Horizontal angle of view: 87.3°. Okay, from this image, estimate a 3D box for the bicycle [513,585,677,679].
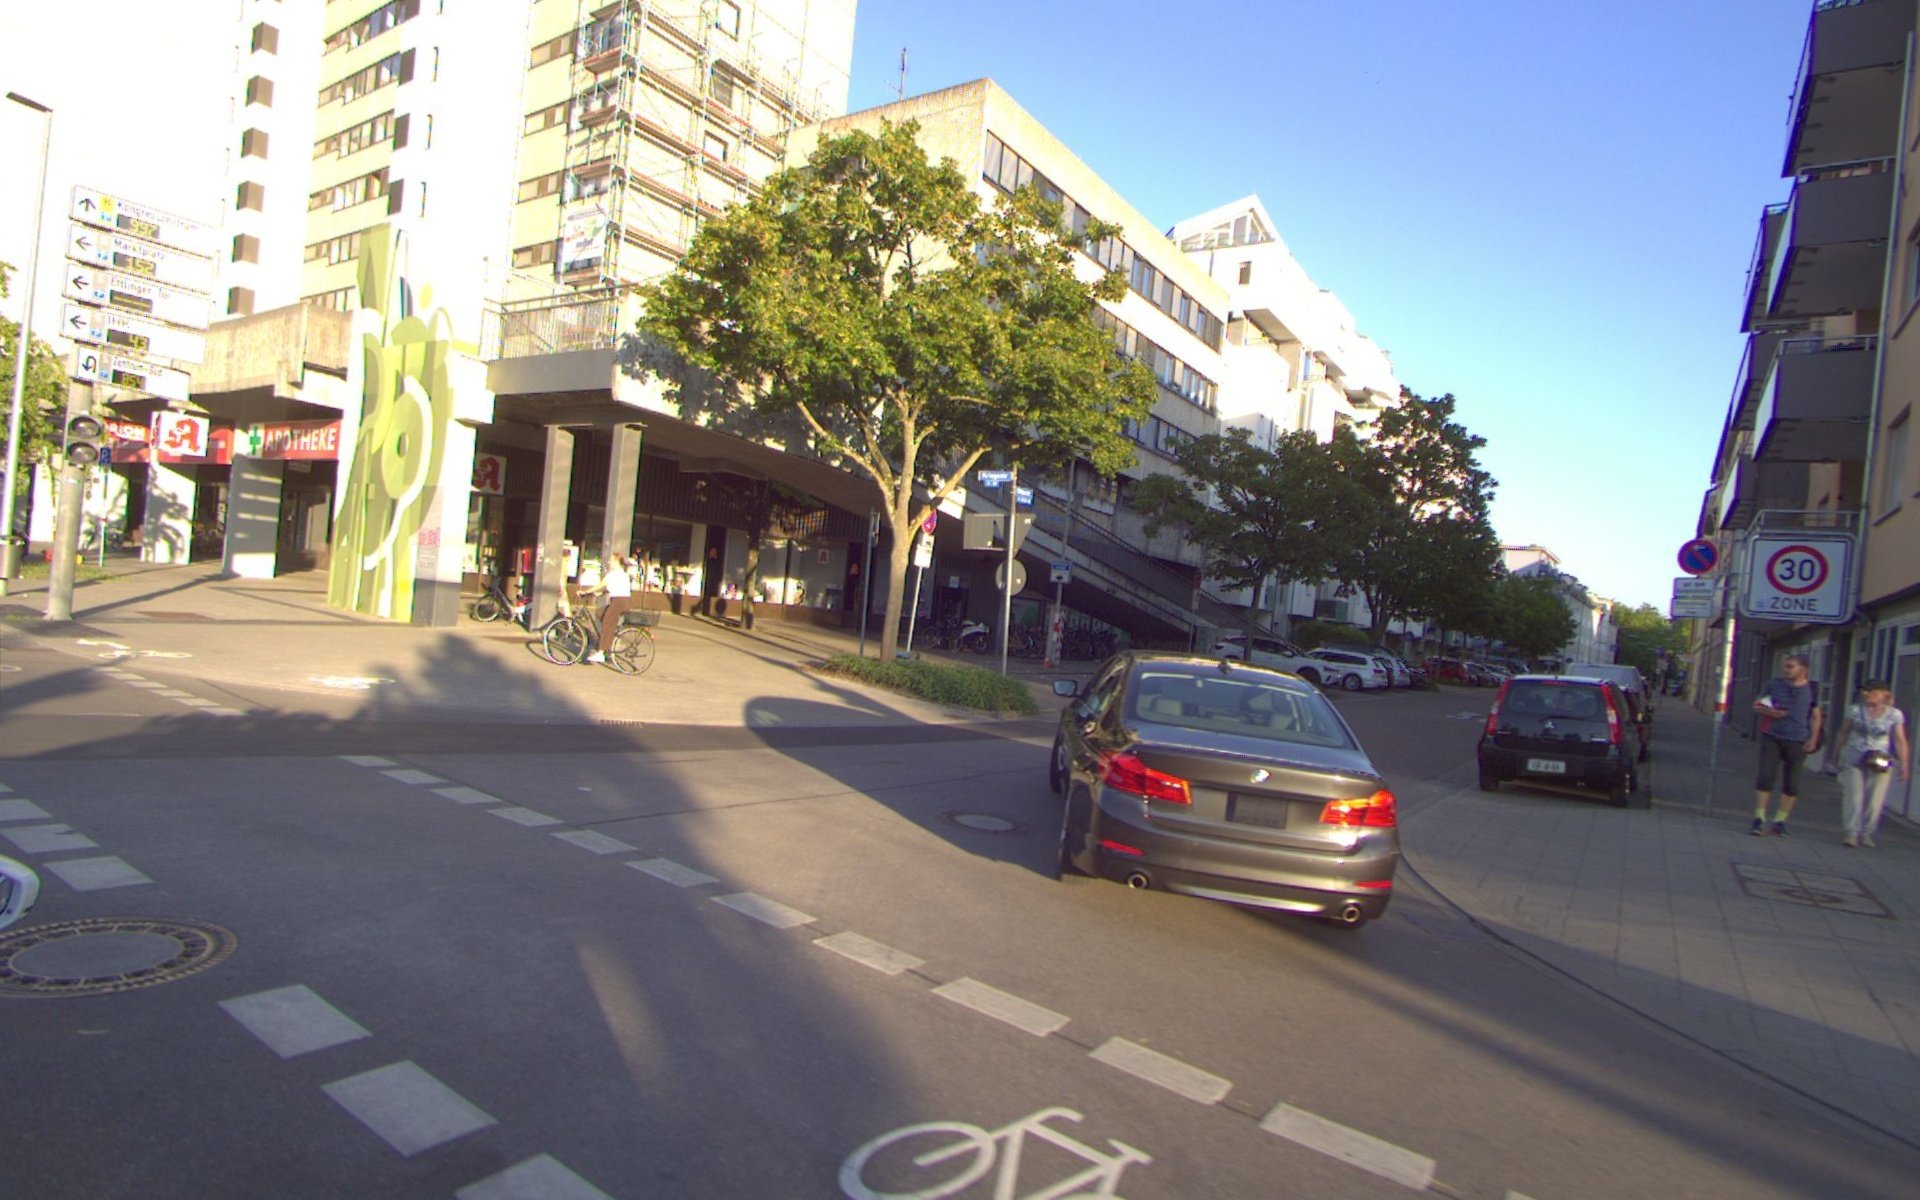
[{"bbox_3d":[-5.507,0.473,15.243,2.107,1.188,0.820,5,1,7],"label":"bicycle"}]

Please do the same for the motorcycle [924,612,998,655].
[{"bbox_3d":[0.018,1.042,31.074,2.117,1.071,0.785,7,2,31],"label":"motorcycle"}]

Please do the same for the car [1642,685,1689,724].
[{"bbox_3d":[40.518,6.003,57.801,2.002,1.849,4.771,6,-3,35],"label":"car"}]

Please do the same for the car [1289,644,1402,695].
[{"bbox_3d":[16.014,2.863,41.847,4.014,1.553,1.639,6,-2,32],"label":"car"}]

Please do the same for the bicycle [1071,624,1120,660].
[{"bbox_3d":[4.987,1.535,37.024,1.539,1.143,0.649,7,2,23],"label":"bicycle"}]

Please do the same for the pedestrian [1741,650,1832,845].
[{"bbox_3d":[8.542,1.494,10.421,0.536,1.882,0.838,5,0,35],"label":"pedestrian"}]

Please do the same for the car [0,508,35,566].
[{"bbox_3d":[-25.477,-1.675,24.562,1.781,1.472,4.600,5,1,-5],"label":"car"}]

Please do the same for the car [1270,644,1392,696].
[{"bbox_3d":[14.594,2.757,39.612,4.111,1.477,1.752,6,-2,32],"label":"car"}]

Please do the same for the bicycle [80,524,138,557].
[{"bbox_3d":[-31.657,-2.206,37.453,0.426,1.062,1.571,6,2,34],"label":"bicycle"}]

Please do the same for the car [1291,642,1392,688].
[{"bbox_3d":[17.569,2.978,46.420,3.967,1.553,1.638,6,-2,35],"label":"car"}]

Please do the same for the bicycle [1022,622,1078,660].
[{"bbox_3d":[3.066,1.396,34.409,1.800,1.051,0.484,7,2,32],"label":"bicycle"}]

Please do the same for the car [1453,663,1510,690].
[{"bbox_3d":[38.675,5.669,74.613,3.451,1.471,1.441,6,-2,35],"label":"car"}]

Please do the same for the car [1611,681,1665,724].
[{"bbox_3d":[35.997,5.473,53.358,2.126,1.849,4.771,6,-3,35],"label":"car"}]

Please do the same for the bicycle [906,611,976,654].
[{"bbox_3d":[-0.575,0.977,30.405,1.891,1.071,0.781,7,2,31],"label":"bicycle"}]

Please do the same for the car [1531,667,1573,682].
[{"bbox_3d":[83.249,10.474,141.456,4.841,1.540,2.027,6,-2,39],"label":"car"}]

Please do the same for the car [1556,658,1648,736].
[{"bbox_3d":[17.863,2.647,27.960,1.969,1.886,4.527,1,-3,34],"label":"car"}]

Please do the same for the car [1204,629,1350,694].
[{"bbox_3d":[11.339,2.188,36.096,4.553,1.712,1.749,6,-2,36],"label":"car"}]

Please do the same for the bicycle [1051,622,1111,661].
[{"bbox_3d":[4.307,1.482,35.751,1.914,1.143,0.649,7,2,23],"label":"bicycle"}]

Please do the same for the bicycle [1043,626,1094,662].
[{"bbox_3d":[3.783,1.516,34.934,1.539,1.051,0.649,7,2,23],"label":"bicycle"}]

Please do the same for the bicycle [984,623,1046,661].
[{"bbox_3d":[1.712,1.311,31.534,1.736,0.963,0.698,7,2,31],"label":"bicycle"}]

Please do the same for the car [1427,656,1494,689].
[{"bbox_3d":[33.417,4.835,67.200,3.720,1.621,1.441,6,-2,35],"label":"car"}]

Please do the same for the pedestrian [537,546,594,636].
[{"bbox_3d":[-8.209,-0.196,20.967,0.685,1.774,0.724,7,3,12],"label":"pedestrian"}]

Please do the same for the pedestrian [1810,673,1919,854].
[{"bbox_3d":[9.060,1.587,10.008,0.755,1.635,0.819,5,0,36],"label":"pedestrian"}]

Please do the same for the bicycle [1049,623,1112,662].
[{"bbox_3d":[4.362,1.528,36.496,2.044,1.143,0.649,7,2,23],"label":"bicycle"}]

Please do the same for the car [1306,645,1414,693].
[{"bbox_3d":[17.352,2.987,43.731,3.967,1.553,1.638,6,-2,35],"label":"car"}]

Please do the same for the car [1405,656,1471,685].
[{"bbox_3d":[30.074,4.432,63.309,3.481,1.336,1.441,6,-2,35],"label":"car"}]

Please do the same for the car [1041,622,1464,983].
[{"bbox_3d":[1.631,1.056,7.318,1.772,1.487,4.622,7,0,3],"label":"car"}]

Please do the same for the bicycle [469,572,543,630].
[{"bbox_3d":[-9.713,0.018,21.545,1.311,1.061,0.458,7,2,6],"label":"bicycle"}]

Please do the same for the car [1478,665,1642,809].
[{"bbox_3d":[8.272,1.750,13.724,1.591,1.578,3.803,2,-2,35],"label":"car"}]

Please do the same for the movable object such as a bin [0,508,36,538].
[{"bbox_3d":[-48.039,-3.933,51.200,1.284,1.315,1.182,6,1,34],"label":"movable object such as a bin"}]

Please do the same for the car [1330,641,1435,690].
[{"bbox_3d":[20.177,3.124,48.114,4.216,1.775,1.638,6,-2,35],"label":"car"}]

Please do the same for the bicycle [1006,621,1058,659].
[{"bbox_3d":[2.326,1.312,32.775,1.542,1.051,0.484,7,2,32],"label":"bicycle"}]

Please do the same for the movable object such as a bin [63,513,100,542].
[{"bbox_3d":[-46.655,-3.843,53.418,1.070,1.330,1.182,6,1,34],"label":"movable object such as a bin"}]

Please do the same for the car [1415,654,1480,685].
[{"bbox_3d":[31.599,4.493,65.237,3.481,1.477,1.441,6,-2,35],"label":"car"}]

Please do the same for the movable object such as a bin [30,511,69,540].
[{"bbox_3d":[-47.376,-3.862,52.354,1.107,1.330,1.182,6,1,34],"label":"movable object such as a bin"}]

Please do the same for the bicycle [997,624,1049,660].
[{"bbox_3d":[2.006,1.339,32.115,1.542,0.963,0.484,7,2,32],"label":"bicycle"}]

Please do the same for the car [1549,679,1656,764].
[{"bbox_3d":[13.243,2.432,20.911,1.630,1.457,4.220,2,-2,30],"label":"car"}]

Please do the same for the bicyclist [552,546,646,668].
[{"bbox_3d":[-5.453,0.098,15.230,0.942,1.714,0.820,5,1,7],"label":"bicyclist"}]
